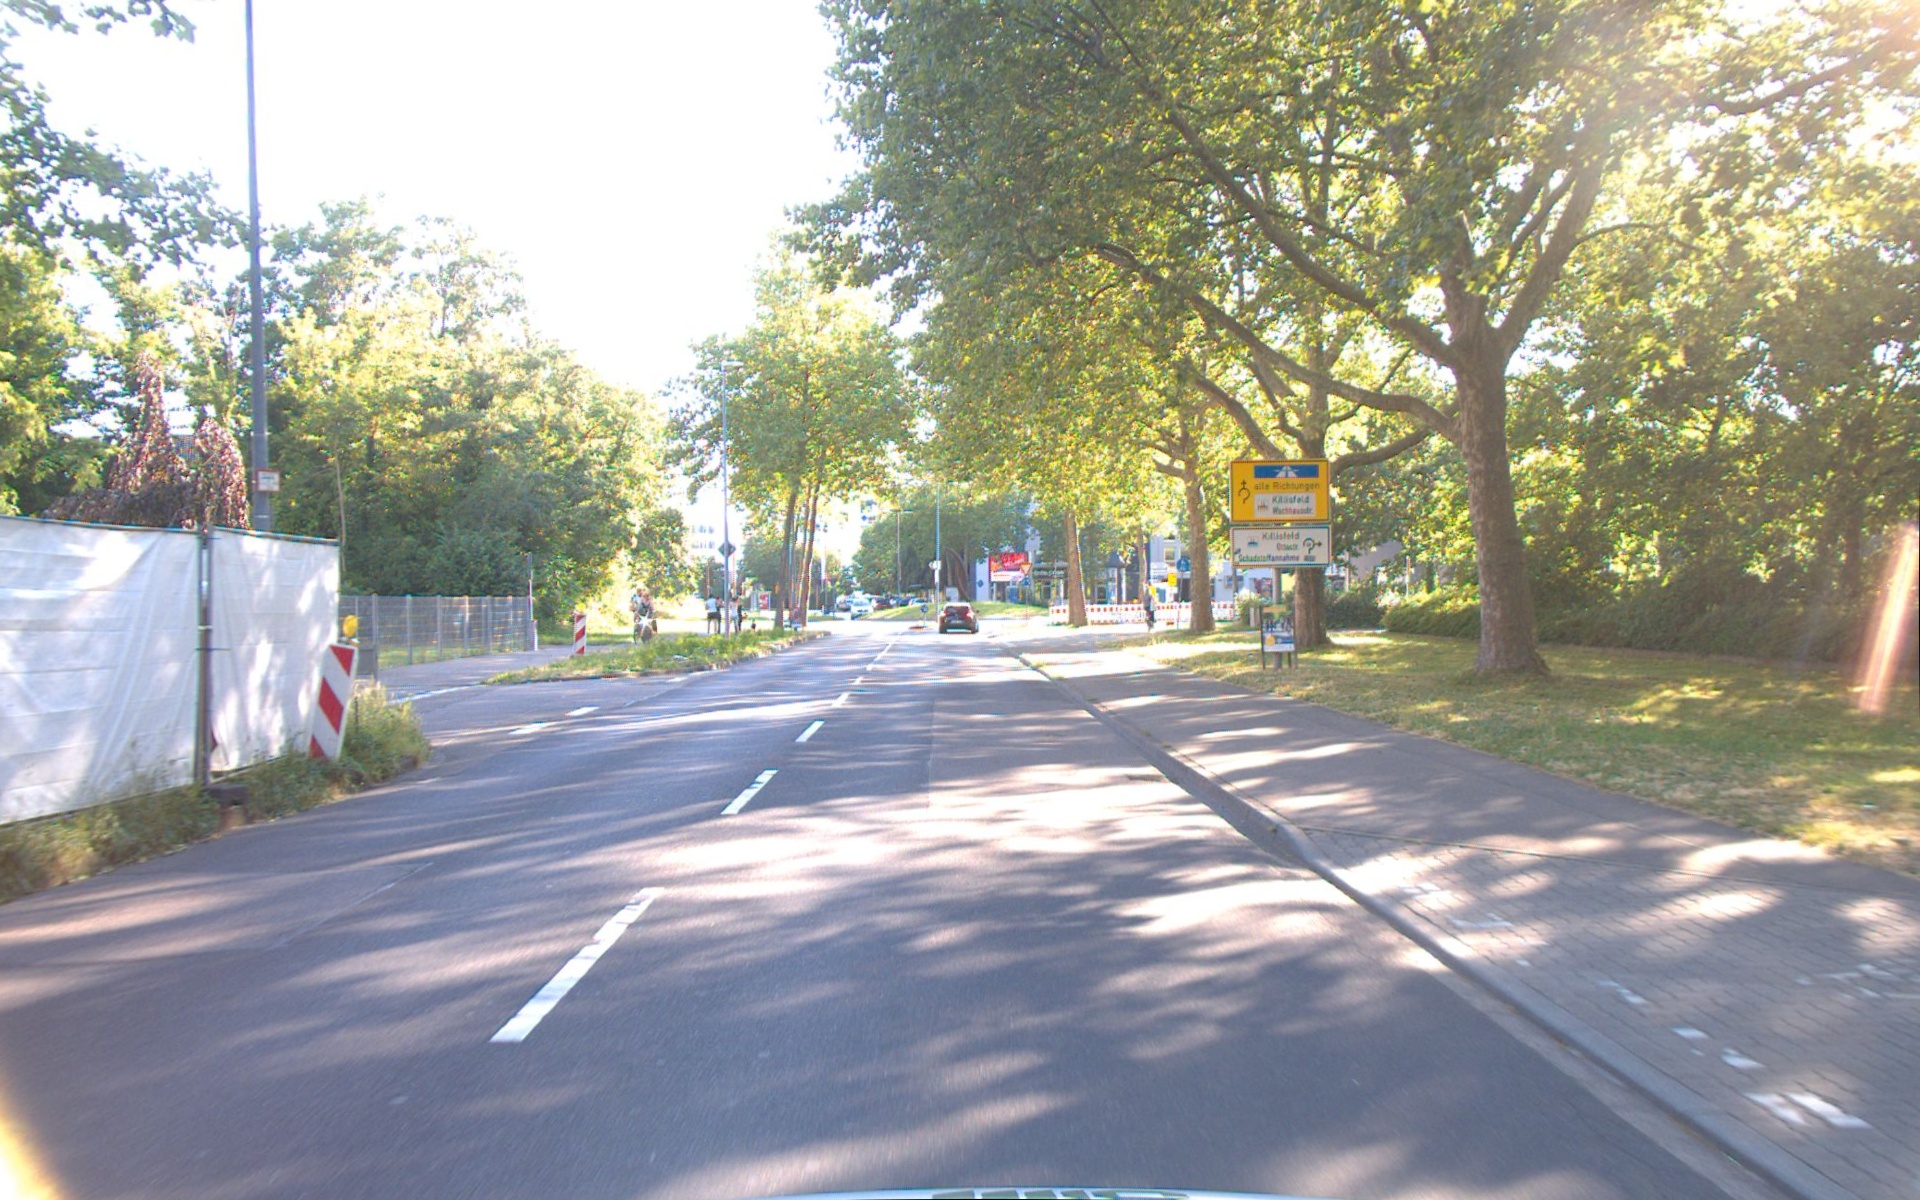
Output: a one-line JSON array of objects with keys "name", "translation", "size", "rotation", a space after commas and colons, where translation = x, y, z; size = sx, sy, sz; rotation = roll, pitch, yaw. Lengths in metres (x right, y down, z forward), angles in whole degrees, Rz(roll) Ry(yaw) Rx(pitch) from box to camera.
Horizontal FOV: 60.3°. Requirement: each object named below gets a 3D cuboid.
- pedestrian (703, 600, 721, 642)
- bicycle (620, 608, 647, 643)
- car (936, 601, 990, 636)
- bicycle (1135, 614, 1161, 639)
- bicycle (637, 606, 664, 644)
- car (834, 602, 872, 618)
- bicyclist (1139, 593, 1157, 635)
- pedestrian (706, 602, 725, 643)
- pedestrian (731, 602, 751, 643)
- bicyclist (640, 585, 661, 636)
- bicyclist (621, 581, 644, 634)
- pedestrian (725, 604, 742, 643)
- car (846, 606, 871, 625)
[{"name": "pedestrian", "translation": [-10.547, 0.905, 70.303], "size": [0.619, 1.769, 0.664], "rotation": [0, -1, 1]}, {"name": "bicycle", "translation": [-11.631, 0.908, 58.930], "size": [0.567, 1.207, 2.031], "rotation": [-3, -1, -2]}, {"name": "car", "translation": [0.169, 0.880, 79.779], "size": [1.800, 1.633, 3.866], "rotation": [-1, 0, 13]}, {"name": "bicycle", "translation": [7.877, 1.118, 69.315], "size": [0.754, 0.981, 2.173], "rotation": [-2, -1, -1]}, {"name": "bicycle", "translation": [-10.673, 0.852, 57.056], "size": [0.567, 1.267, 2.107], "rotation": [-1, 0, -2]}, {"name": "car", "translation": [-12.361, 1.147, 191.159], "size": [3.946, 1.777, 1.777], "rotation": [2, -1, -31]}, {"name": "bicyclist", "translation": [7.891, 0.596, 69.472], "size": [0.637, 1.735, 0.871], "rotation": [1, -1, 0]}, {"name": "pedestrian", "translation": [-10.539, 0.955, 71.313], "size": [0.651, 1.769, 0.751], "rotation": [0, -1, 1]}, {"name": "pedestrian", "translation": [-9.468, 0.974, 71.543], "size": [0.733, 1.769, 0.852], "rotation": [0, -1, 1]}, {"name": "bicyclist", "translation": [-10.676, 0.359, 57.086], "size": [0.567, 1.709, 0.970], "rotation": [-1, 0, -2]}, {"name": "bicyclist", "translation": [-11.661, 0.267, 58.925], "size": [0.567, 1.863, 0.968], "rotation": [-3, -1, -2]}, {"name": "pedestrian", "translation": [-9.615, 0.997, 70.253], "size": [0.622, 1.666, 0.574], "rotation": [0, -1, -17]}, {"name": "car", "translation": [-8.639, 1.310, 140.843], "size": [1.955, 1.606, 3.995], "rotation": [0, -1, -5]}]
